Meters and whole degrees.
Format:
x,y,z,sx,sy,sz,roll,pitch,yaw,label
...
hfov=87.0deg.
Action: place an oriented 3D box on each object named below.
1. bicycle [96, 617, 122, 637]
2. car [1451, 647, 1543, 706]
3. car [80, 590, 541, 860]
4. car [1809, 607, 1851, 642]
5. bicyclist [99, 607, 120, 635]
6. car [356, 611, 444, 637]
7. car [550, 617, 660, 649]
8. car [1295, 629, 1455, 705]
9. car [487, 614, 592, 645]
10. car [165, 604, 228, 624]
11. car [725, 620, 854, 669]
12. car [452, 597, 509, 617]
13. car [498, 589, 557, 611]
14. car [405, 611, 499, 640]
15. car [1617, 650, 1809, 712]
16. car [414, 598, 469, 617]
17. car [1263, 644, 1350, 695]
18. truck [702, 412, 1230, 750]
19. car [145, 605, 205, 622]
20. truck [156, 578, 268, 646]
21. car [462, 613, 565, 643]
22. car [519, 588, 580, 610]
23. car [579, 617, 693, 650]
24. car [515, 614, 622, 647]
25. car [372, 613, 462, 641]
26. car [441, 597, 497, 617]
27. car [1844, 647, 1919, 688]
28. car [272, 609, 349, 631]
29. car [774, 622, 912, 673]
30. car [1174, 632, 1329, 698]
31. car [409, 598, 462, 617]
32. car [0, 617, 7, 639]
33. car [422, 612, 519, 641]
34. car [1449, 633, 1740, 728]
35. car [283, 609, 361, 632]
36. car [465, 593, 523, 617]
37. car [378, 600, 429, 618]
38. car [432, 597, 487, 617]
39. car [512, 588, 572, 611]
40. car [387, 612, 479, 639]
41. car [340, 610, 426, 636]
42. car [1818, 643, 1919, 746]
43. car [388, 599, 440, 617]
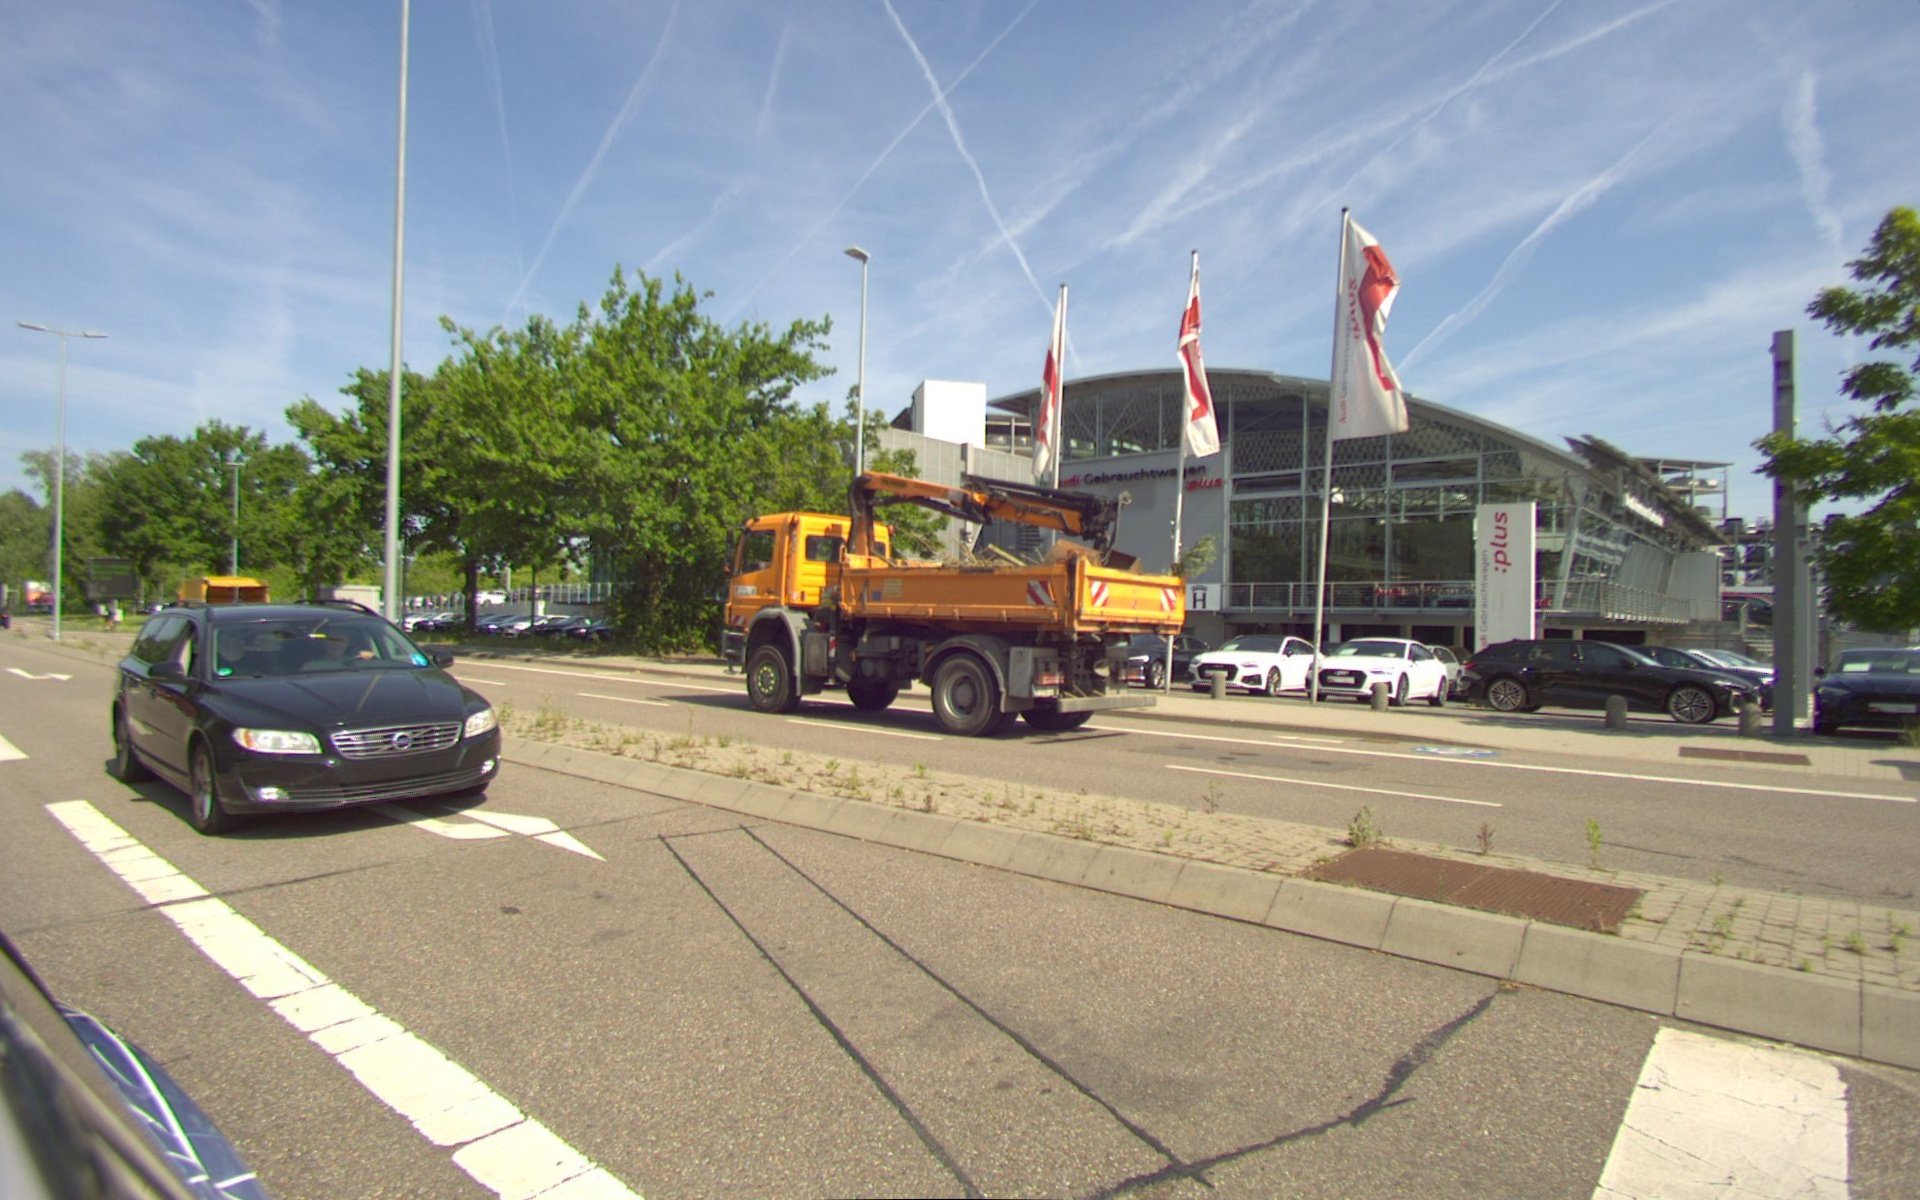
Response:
x,y,z,sx,sy,sz,roll,pitch,yaw,label
-50.166,1.605,59.648,1.762,1.159,0.567,0,-2,29,bicycle
15.445,2.145,29.037,1.659,1.484,3.472,0,-2,40,car
-5.395,0.719,8.082,4.867,1.533,1.858,0,0,42,car
51.913,1.486,60.370,1.852,2.029,4.014,0,-2,41,car
-50.092,1.215,59.590,0.906,1.608,0.573,0,-3,29,bicyclist
-32.786,1.434,59.310,1.690,1.256,4.141,0,-4,42,car
-15.325,1.444,43.799,1.719,1.131,4.141,0,-4,42,car
8.688,1.417,21.009,1.877,1.380,4.030,0,-4,41,car
-19.519,1.384,47.134,1.690,1.204,4.141,0,-4,42,car
-67.724,1.292,89.797,1.690,1.510,4.141,0,-4,42,car
-5.613,1.511,33.753,1.808,1.412,3.983,0,-4,40,car
-42.164,0.605,89.072,1.690,1.510,4.141,0,-4,42,car
-35.980,0.030,84.245,1.690,1.510,4.141,0,-4,42,car
-27.115,1.386,54.111,1.690,1.309,4.141,0,-4,42,car
20.307,2.130,27.372,4.063,1.389,1.769,0,-2,41,car
-48.364,0.707,94.425,1.690,1.510,4.141,0,-4,42,car
11.235,2.210,32.676,1.522,1.484,3.472,0,-2,40,car
-0.276,-0.125,14.601,7.576,3.708,2.717,0,-4,41,truck
-73.597,1.281,94.902,1.690,1.389,4.141,0,-4,42,car
-31.251,0.507,42.206,6.670,2.645,2.350,-1,-2,41,truck
-21.432,1.380,48.674,1.690,1.214,4.141,0,-4,42,car
-32.458,-0.042,80.128,1.690,1.416,4.141,0,-4,42,car
-13.352,1.404,41.868,1.695,1.143,4.141,0,-4,42,car
-17.585,1.392,45.555,1.690,1.256,4.141,0,-4,42,car
-30.847,1.538,57.577,1.690,1.335,4.141,0,-4,42,car
-43.920,0.625,90.609,1.690,1.510,4.141,0,-4,42,car
36.234,2.573,38.801,3.958,1.453,1.803,2,-2,-19,car
-45.295,1.410,70.622,1.690,1.333,4.141,0,-4,42,car
-3.621,1.521,31.905,1.801,1.405,4.172,0,-4,40,car
6.646,1.494,22.830,1.868,1.329,3.945,0,-4,41,car
-49.846,0.749,96.210,1.690,1.510,4.141,0,-4,42,car
-64.299,1.779,66.511,4.660,1.471,1.828,0,-4,40,car
-25.224,1.391,52.268,1.690,1.269,4.141,0,-4,42,car
11.845,1.422,19.073,4.424,1.507,1.778,0,-2,42,car
-43.595,1.412,69.203,1.690,1.333,4.141,0,-4,42,car
-40.173,0.450,87.315,1.690,1.745,4.141,0,-4,42,car
-55.575,0.891,101.124,1.690,1.510,4.141,0,-4,42,car
-45.581,0.672,92.187,1.690,1.510,4.141,0,-4,42,car
-33.997,-0.009,82.362,1.690,1.510,4.141,0,-4,42,car
-29.094,1.436,55.930,1.690,1.265,4.141,0,-4,42,car
-34.666,1.399,60.908,1.690,1.333,4.141,0,-4,42,car
14.599,1.403,15.804,1.762,1.413,3.796,0,-2,39,car
-53.616,0.828,99.433,1.690,1.510,4.141,0,-4,42,car
